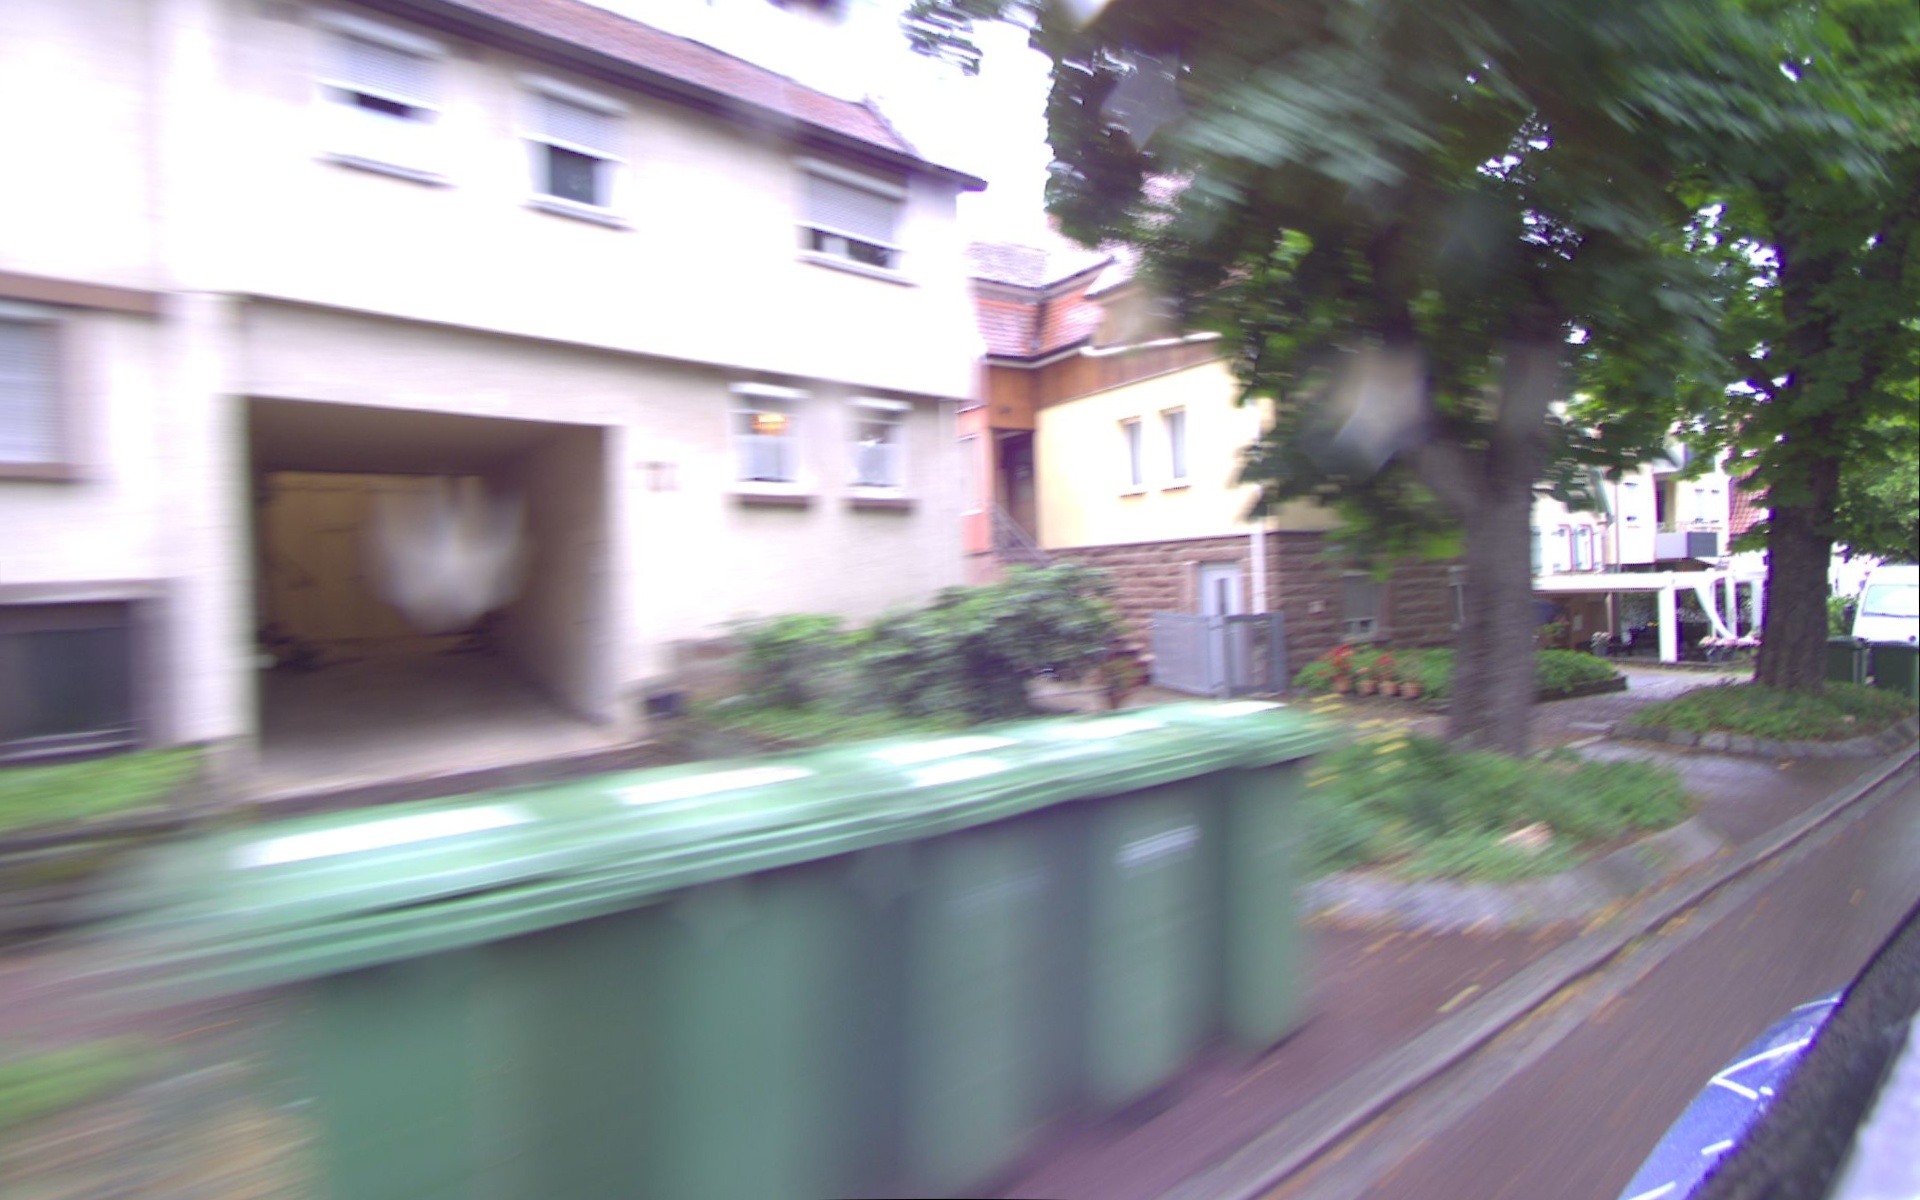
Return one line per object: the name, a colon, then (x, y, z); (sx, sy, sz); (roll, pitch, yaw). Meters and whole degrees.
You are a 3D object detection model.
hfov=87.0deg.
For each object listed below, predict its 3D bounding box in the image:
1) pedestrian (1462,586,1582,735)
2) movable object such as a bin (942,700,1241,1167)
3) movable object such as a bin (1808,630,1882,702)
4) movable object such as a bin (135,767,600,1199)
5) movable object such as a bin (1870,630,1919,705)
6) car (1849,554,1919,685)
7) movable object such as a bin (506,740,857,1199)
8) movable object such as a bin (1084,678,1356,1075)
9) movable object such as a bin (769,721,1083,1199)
pedestrian: (6.609, 0.674, 11.930); (0.778, 1.673, 0.959); (0, 0, -27)
movable object such as a bin: (0.378, 0.881, 2.989); (0.532, 1.096, 0.688); (1, -2, -44)
movable object such as a bin: (14.099, 1.038, 16.130); (0.863, 1.089, 0.749); (0, -2, -40)
movable object such as a bin: (-0.989, 0.888, 1.671); (0.532, 1.096, 0.644); (1, -2, -44)
movable object such as a bin: (14.555, 1.020, 15.488); (0.863, 1.089, 0.798); (0, -2, -40)
car: (20.388, 0.370, 20.984); (5.339, 2.492, 2.144); (0, -2, -41)
movable object such as a bin: (-0.593, 0.888, 2.110); (0.464, 1.096, 0.631); (1, -2, -44)
movable object such as a bin: (0.857, 0.834, 3.376); (0.532, 1.096, 0.688); (1, -2, -44)
movable object such as a bin: (-0.094, 0.896, 2.550); (0.504, 1.096, 0.610); (1, -2, -44)
